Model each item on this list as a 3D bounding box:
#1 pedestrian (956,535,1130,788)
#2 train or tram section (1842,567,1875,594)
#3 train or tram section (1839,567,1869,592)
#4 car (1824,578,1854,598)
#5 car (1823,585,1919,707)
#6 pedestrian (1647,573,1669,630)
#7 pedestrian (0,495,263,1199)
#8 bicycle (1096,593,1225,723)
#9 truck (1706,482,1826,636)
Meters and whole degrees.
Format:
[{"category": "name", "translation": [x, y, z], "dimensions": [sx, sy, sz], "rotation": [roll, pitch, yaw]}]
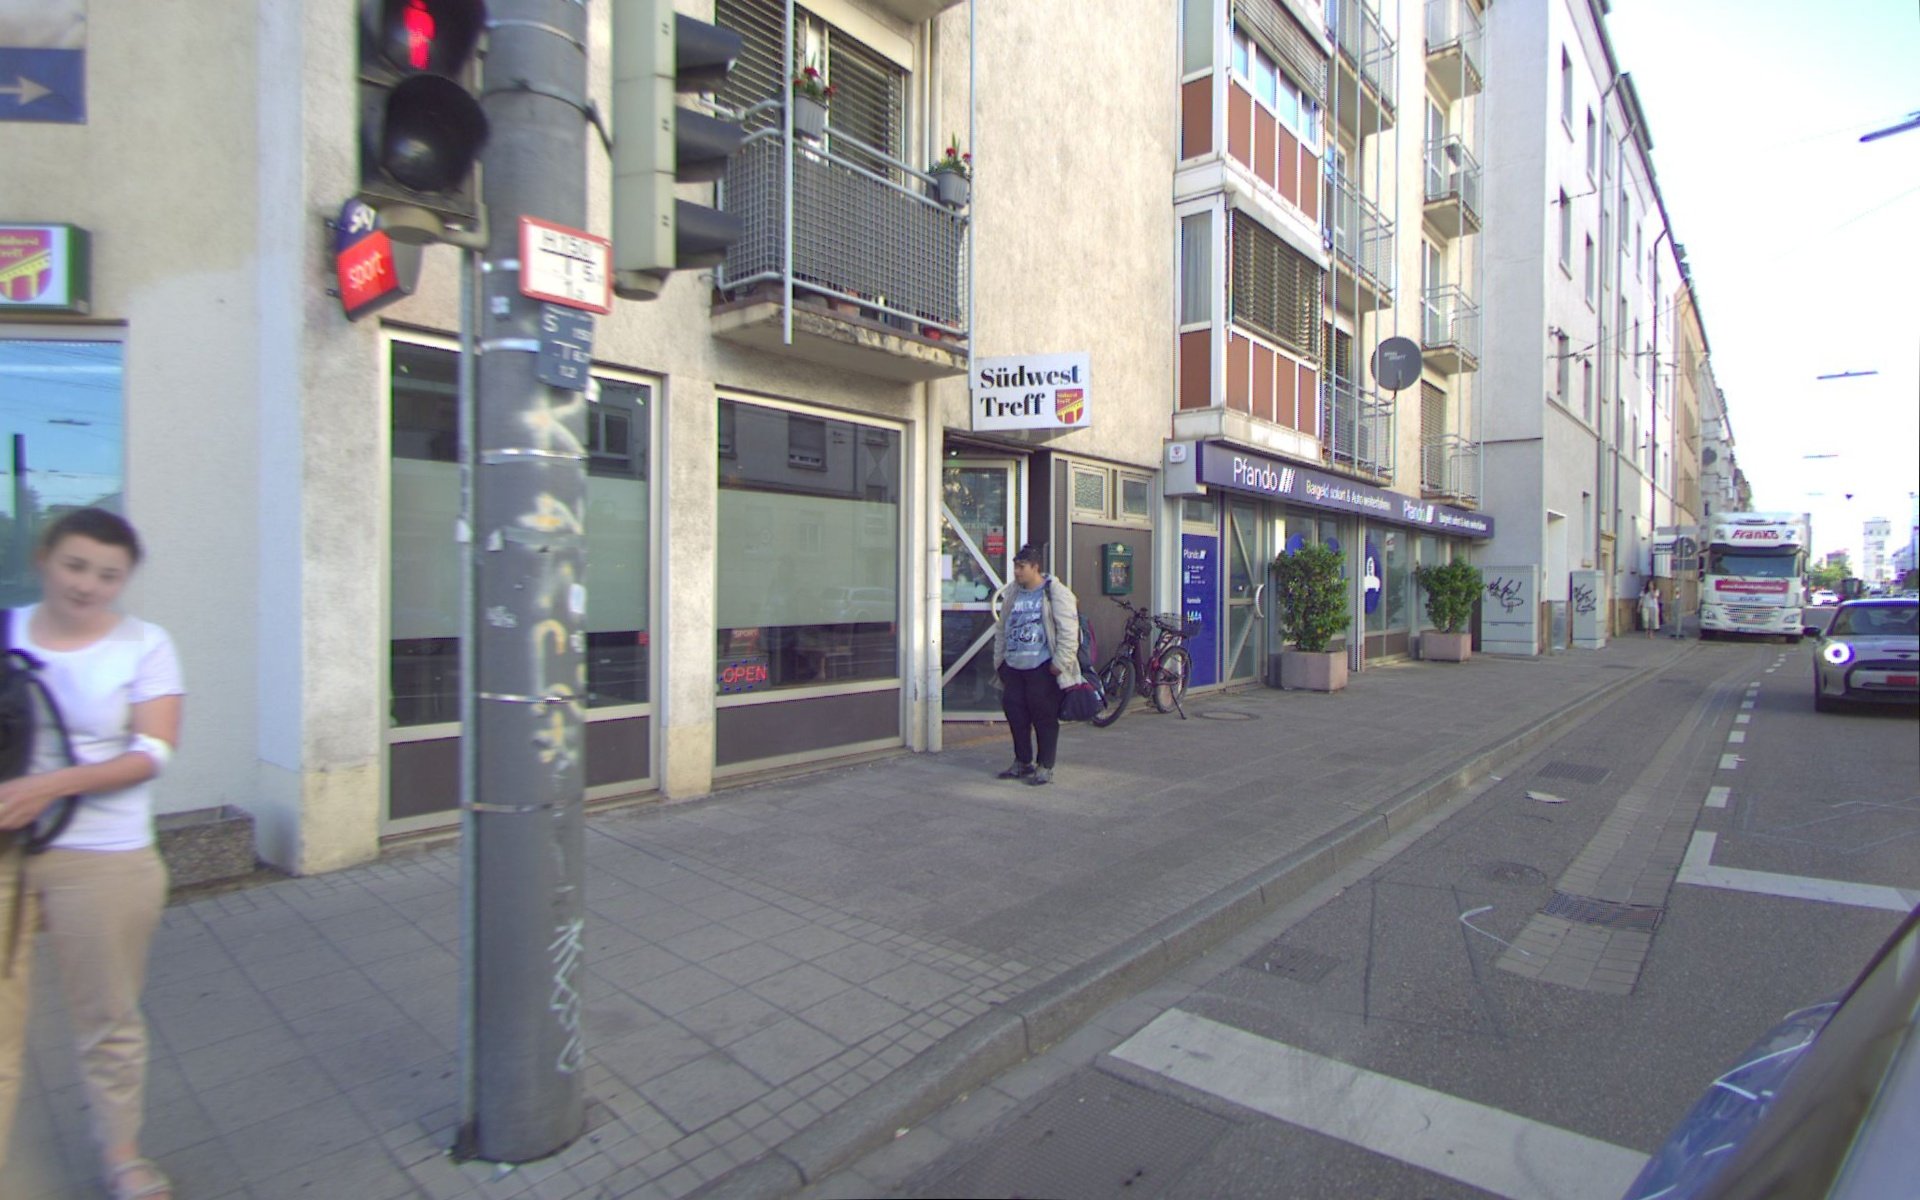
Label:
[{"category": "pedestrian", "translation": [0.585, 0.377, 7.077], "dimensions": [0.882, 1.612, 0.800], "rotation": [3, 2, 35]}, {"category": "train or tram section", "translation": [124.250, -2.748, 140.059], "dimensions": [2.855, 3.606, 12.859], "rotation": [0, 1, 39]}, {"category": "train or tram section", "translation": [132.526, -3.023, 150.123], "dimensions": [2.855, 3.606, 13.147], "rotation": [0, 1, 39]}, {"category": "car", "translation": [87.021, -1.198, 100.233], "dimensions": [1.989, 1.905, 4.212], "rotation": [-2, 0, 38]}, {"category": "car", "translation": [12.555, 0.545, 13.337], "dimensions": [1.722, 1.443, 3.759], "rotation": [0, 0, 42]}, {"category": "pedestrian", "translation": [20.529, 0.025, 29.764], "dimensions": [0.474, 1.650, 0.460], "rotation": [1, 1, 42]}, {"category": "pedestrian", "translation": [-2.077, 0.591, 2.273], "dimensions": [0.718, 1.642, 0.542], "rotation": [-1, 5, -25]}, {"category": "bicycle", "translation": [2.065, 0.539, 10.255], "dimensions": [0.495, 1.176, 1.752], "rotation": [0, 1, 40]}, {"category": "truck", "translation": [26.970, -1.324, 33.592], "dimensions": [2.690, 4.290, 11.606], "rotation": [0, 2, 41]}]
